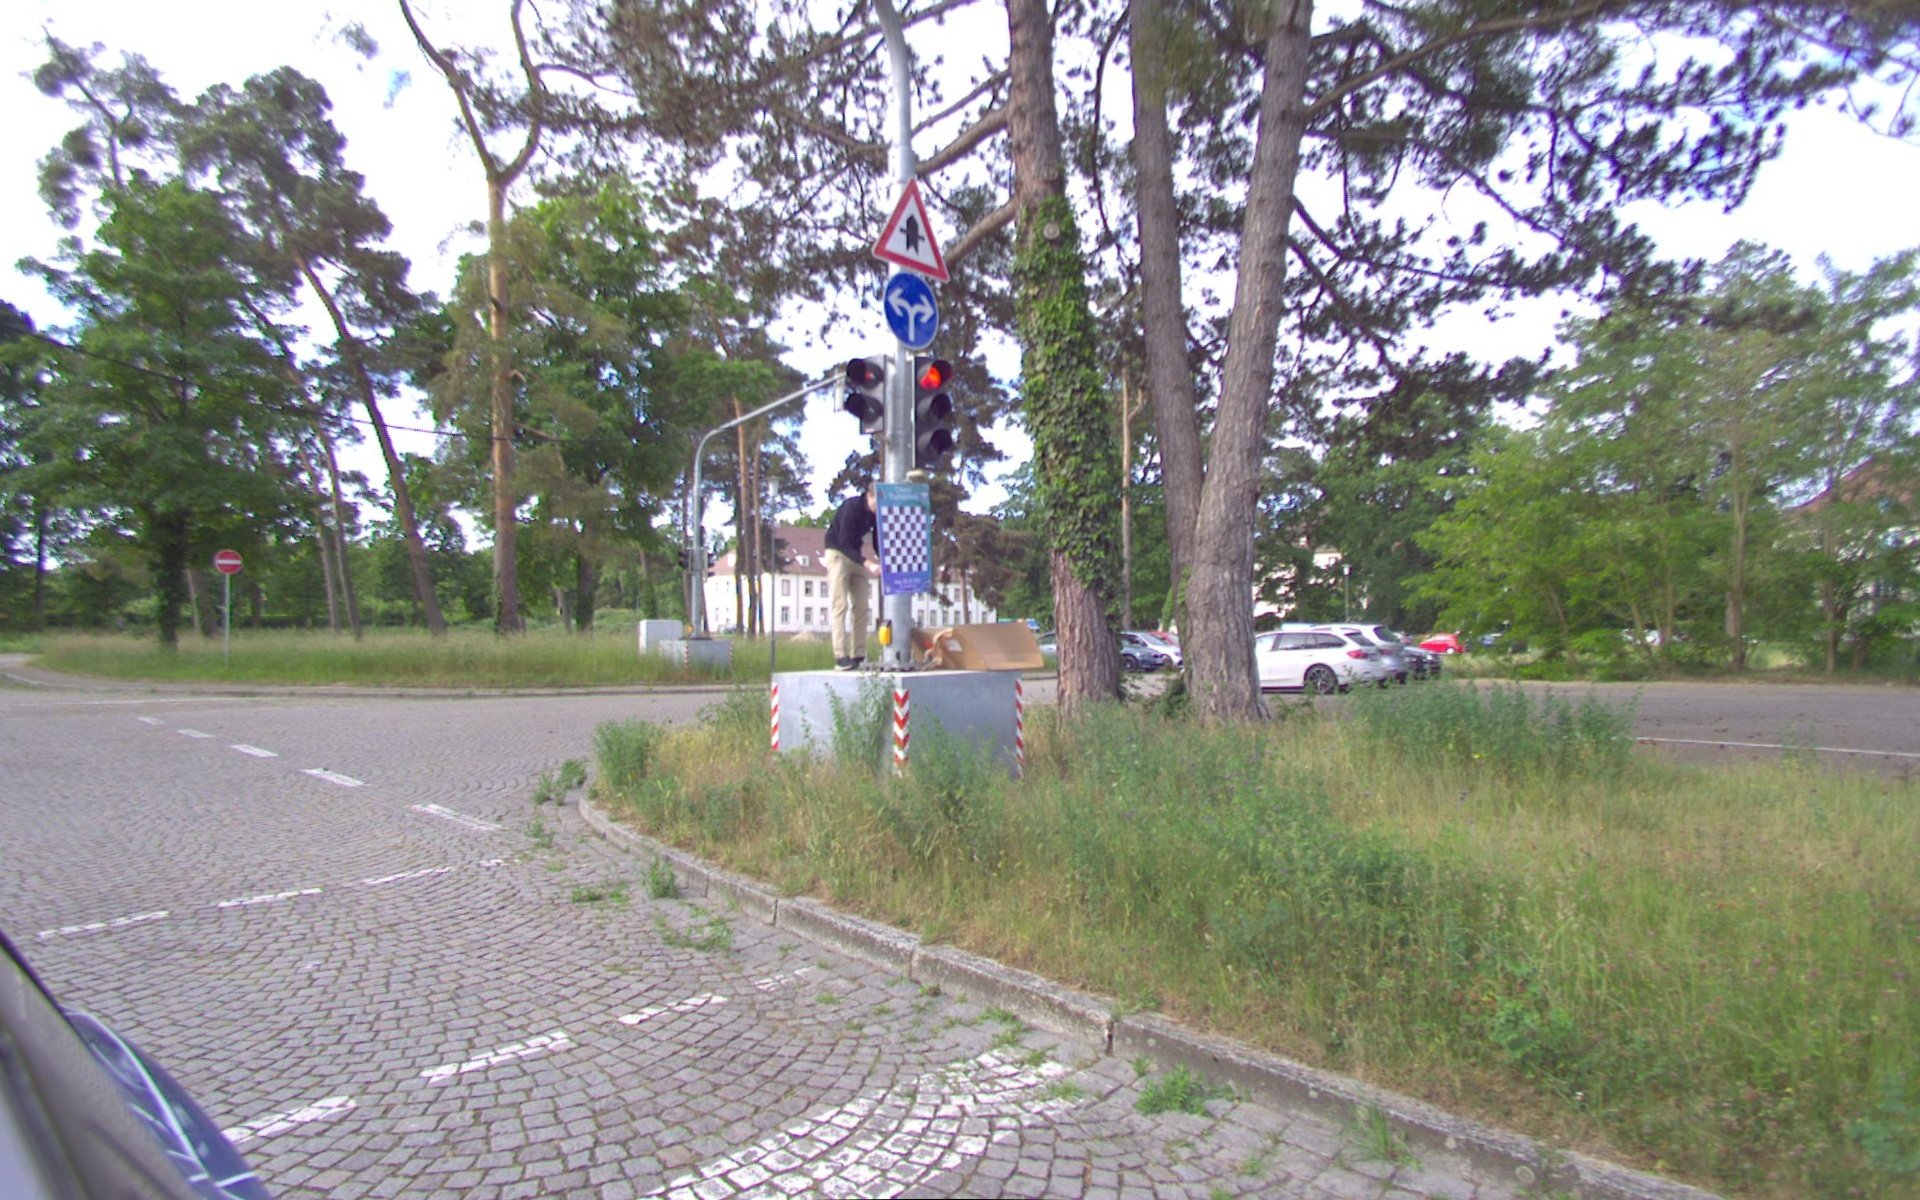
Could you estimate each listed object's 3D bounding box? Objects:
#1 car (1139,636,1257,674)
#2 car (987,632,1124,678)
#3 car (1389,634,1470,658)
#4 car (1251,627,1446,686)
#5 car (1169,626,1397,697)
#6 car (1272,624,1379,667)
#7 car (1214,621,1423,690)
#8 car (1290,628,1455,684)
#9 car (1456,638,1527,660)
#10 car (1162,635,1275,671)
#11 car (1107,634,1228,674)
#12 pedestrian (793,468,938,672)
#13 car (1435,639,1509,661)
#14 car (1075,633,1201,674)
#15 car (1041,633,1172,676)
[{"bbox_3d":[10.157,2.375,43.455,4.580,1.533,1.817,-4,-4,39],"label":"car"},{"bbox_3d":[3.367,1.977,36.140,4.572,1.559,1.820,-3,-4,34],"label":"car"},{"bbox_3d":[31.490,3.102,67.972,4.580,1.533,1.817,-4,-4,39],"label":"car"},{"bbox_3d":[10.464,1.538,27.486,4.583,1.480,1.815,-4,-4,42],"label":"car"},{"bbox_3d":[7.347,1.420,23.311,4.650,1.461,1.817,-4,-4,39],"label":"car"},{"bbox_3d":[19.258,2.418,53.502,4.978,2.113,1.816,-4,-4,41],"label":"car"},{"bbox_3d":[8.904,1.406,25.377,4.580,1.590,1.817,-4,-4,39],"label":"car"},{"bbox_3d":[12.048,1.665,29.705,4.112,1.533,1.714,-4,-4,42],"label":"car"},{"bbox_3d":[41.237,3.804,78.592,4.580,1.533,1.817,-4,-4,39],"label":"car"},{"bbox_3d":[11.624,2.388,45.614,4.580,1.533,1.817,-4,-4,39],"label":"car"},{"bbox_3d":[8.530,2.242,41.827,4.580,1.571,1.817,-4,-4,39],"label":"car"},{"bbox_3d":[-0.765,-0.210,8.157,0.869,1.529,0.824,1,-2,-34],"label":"pedestrian"},{"bbox_3d":[38.164,3.744,75.444,4.580,1.533,1.817,-4,-4,39],"label":"car"},{"bbox_3d":[7.002,2.130,40.015,4.580,1.533,1.817,-4,-4,39],"label":"car"},{"bbox_3d":[5.435,2.052,37.897,4.580,1.533,1.817,-4,-4,39],"label":"car"}]
